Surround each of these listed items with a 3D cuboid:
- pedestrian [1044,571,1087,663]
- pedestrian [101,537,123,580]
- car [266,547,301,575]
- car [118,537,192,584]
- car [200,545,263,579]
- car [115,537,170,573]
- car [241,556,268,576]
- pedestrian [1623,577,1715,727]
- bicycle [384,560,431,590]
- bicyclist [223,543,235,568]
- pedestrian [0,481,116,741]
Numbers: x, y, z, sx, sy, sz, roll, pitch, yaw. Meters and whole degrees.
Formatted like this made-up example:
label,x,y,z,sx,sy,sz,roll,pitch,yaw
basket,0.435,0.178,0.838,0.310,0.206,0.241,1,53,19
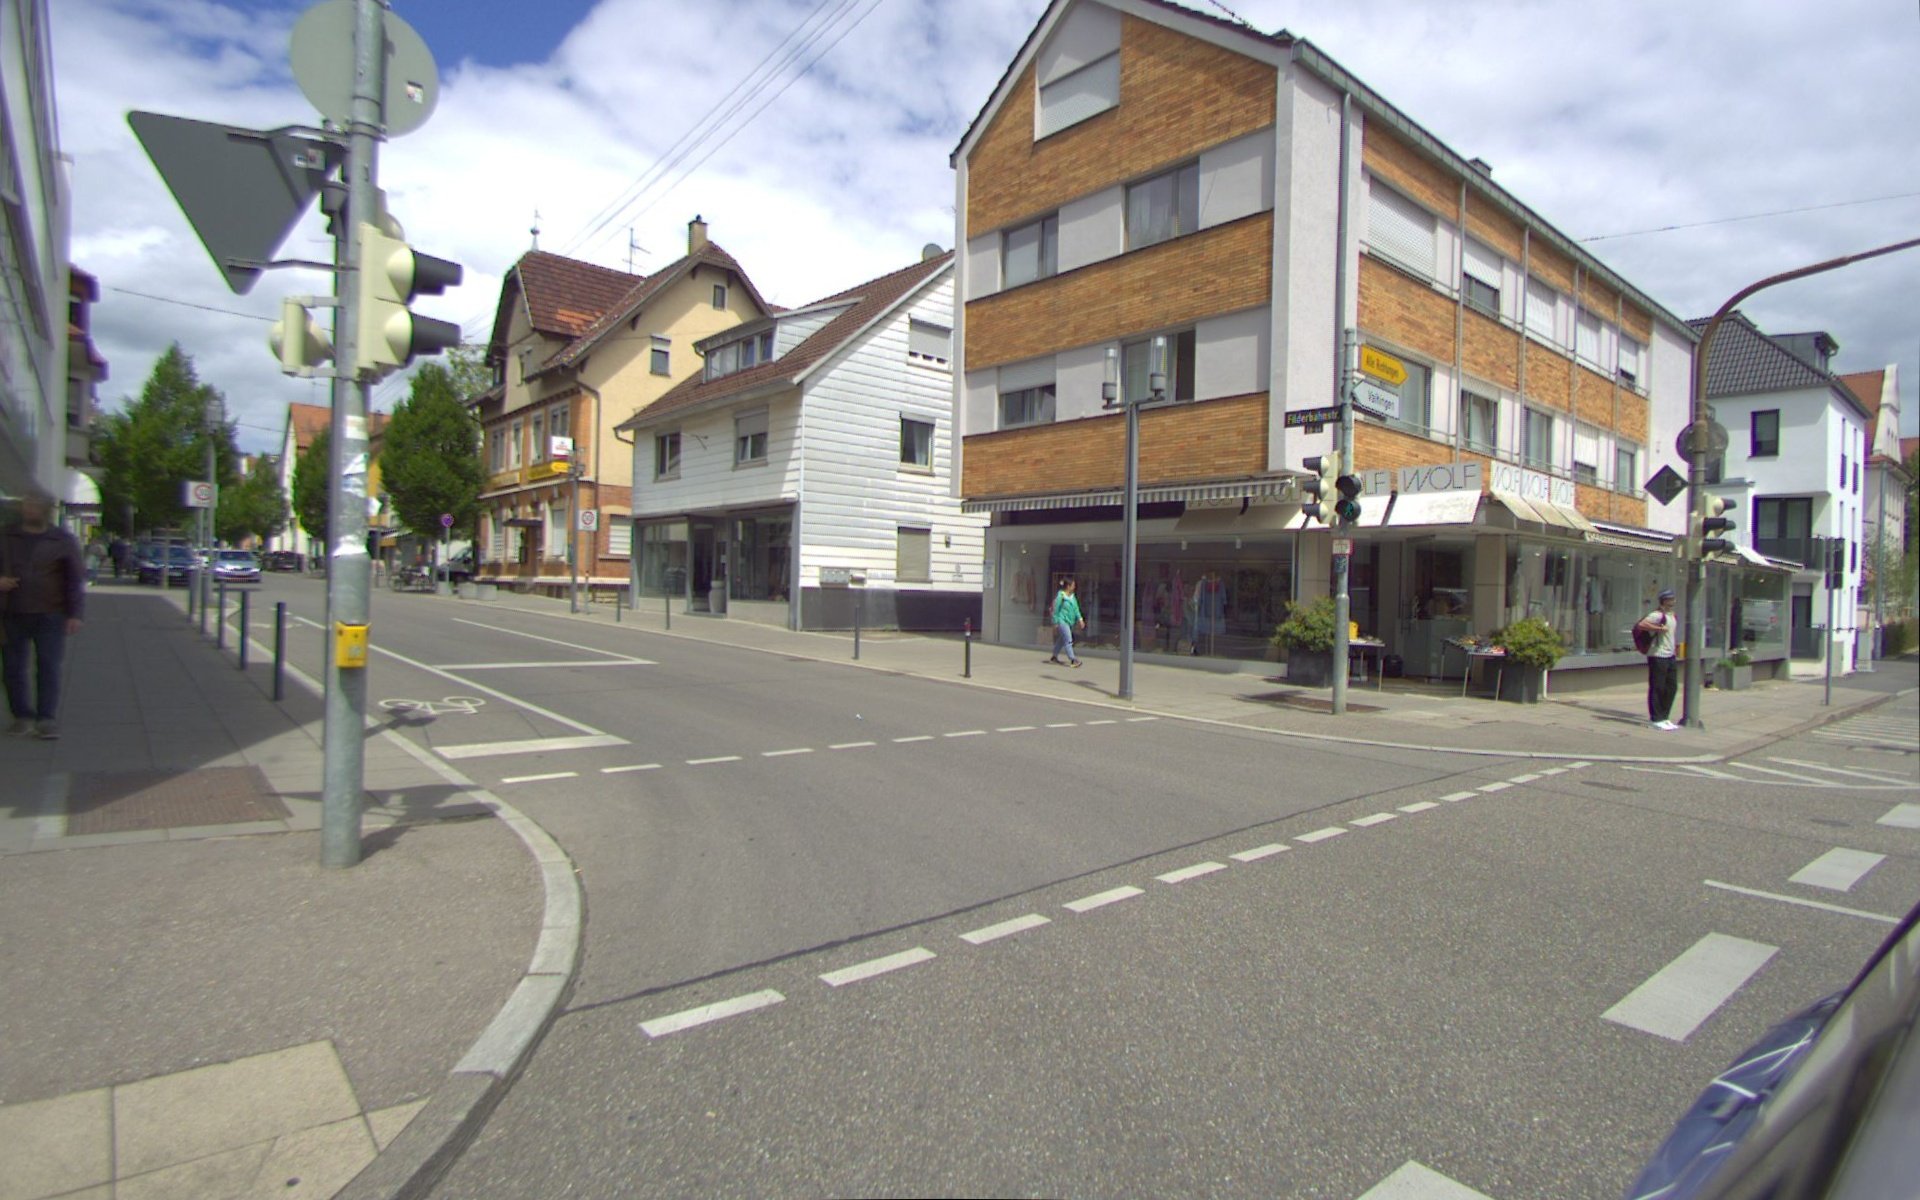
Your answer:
label,x,y,z,sx,sy,sz,roll,pitch,yaw
pedestrian,1.846,0.288,17.728,0.584,1.579,0.522,0,0,33
pedestrian,-35.779,-1.746,42.702,0.617,1.726,0.572,5,2,39
car,-47.581,-2.705,71.141,1.650,1.820,3.811,0,1,-40
car,-30.223,-1.428,37.977,1.796,1.671,3.989,0,1,-44
car,-32.390,-1.636,44.964,1.678,1.415,3.989,0,1,-45
car,-40.723,-2.218,50.387,1.796,1.671,3.989,0,1,-44
car,-60.582,-2.928,86.890,1.590,1.622,3.675,0,1,-40
pedestrian,9.207,0.650,13.164,0.605,1.836,0.772,5,2,17
bicycle,-22.969,-1.022,42.051,1.684,1.235,0.562,0,0,-33
bicyclist,-53.652,-3.274,74.291,0.681,1.783,0.944,0,0,-41
pedestrian,-6.522,0.052,7.131,0.572,1.726,0.616,4,2,17
